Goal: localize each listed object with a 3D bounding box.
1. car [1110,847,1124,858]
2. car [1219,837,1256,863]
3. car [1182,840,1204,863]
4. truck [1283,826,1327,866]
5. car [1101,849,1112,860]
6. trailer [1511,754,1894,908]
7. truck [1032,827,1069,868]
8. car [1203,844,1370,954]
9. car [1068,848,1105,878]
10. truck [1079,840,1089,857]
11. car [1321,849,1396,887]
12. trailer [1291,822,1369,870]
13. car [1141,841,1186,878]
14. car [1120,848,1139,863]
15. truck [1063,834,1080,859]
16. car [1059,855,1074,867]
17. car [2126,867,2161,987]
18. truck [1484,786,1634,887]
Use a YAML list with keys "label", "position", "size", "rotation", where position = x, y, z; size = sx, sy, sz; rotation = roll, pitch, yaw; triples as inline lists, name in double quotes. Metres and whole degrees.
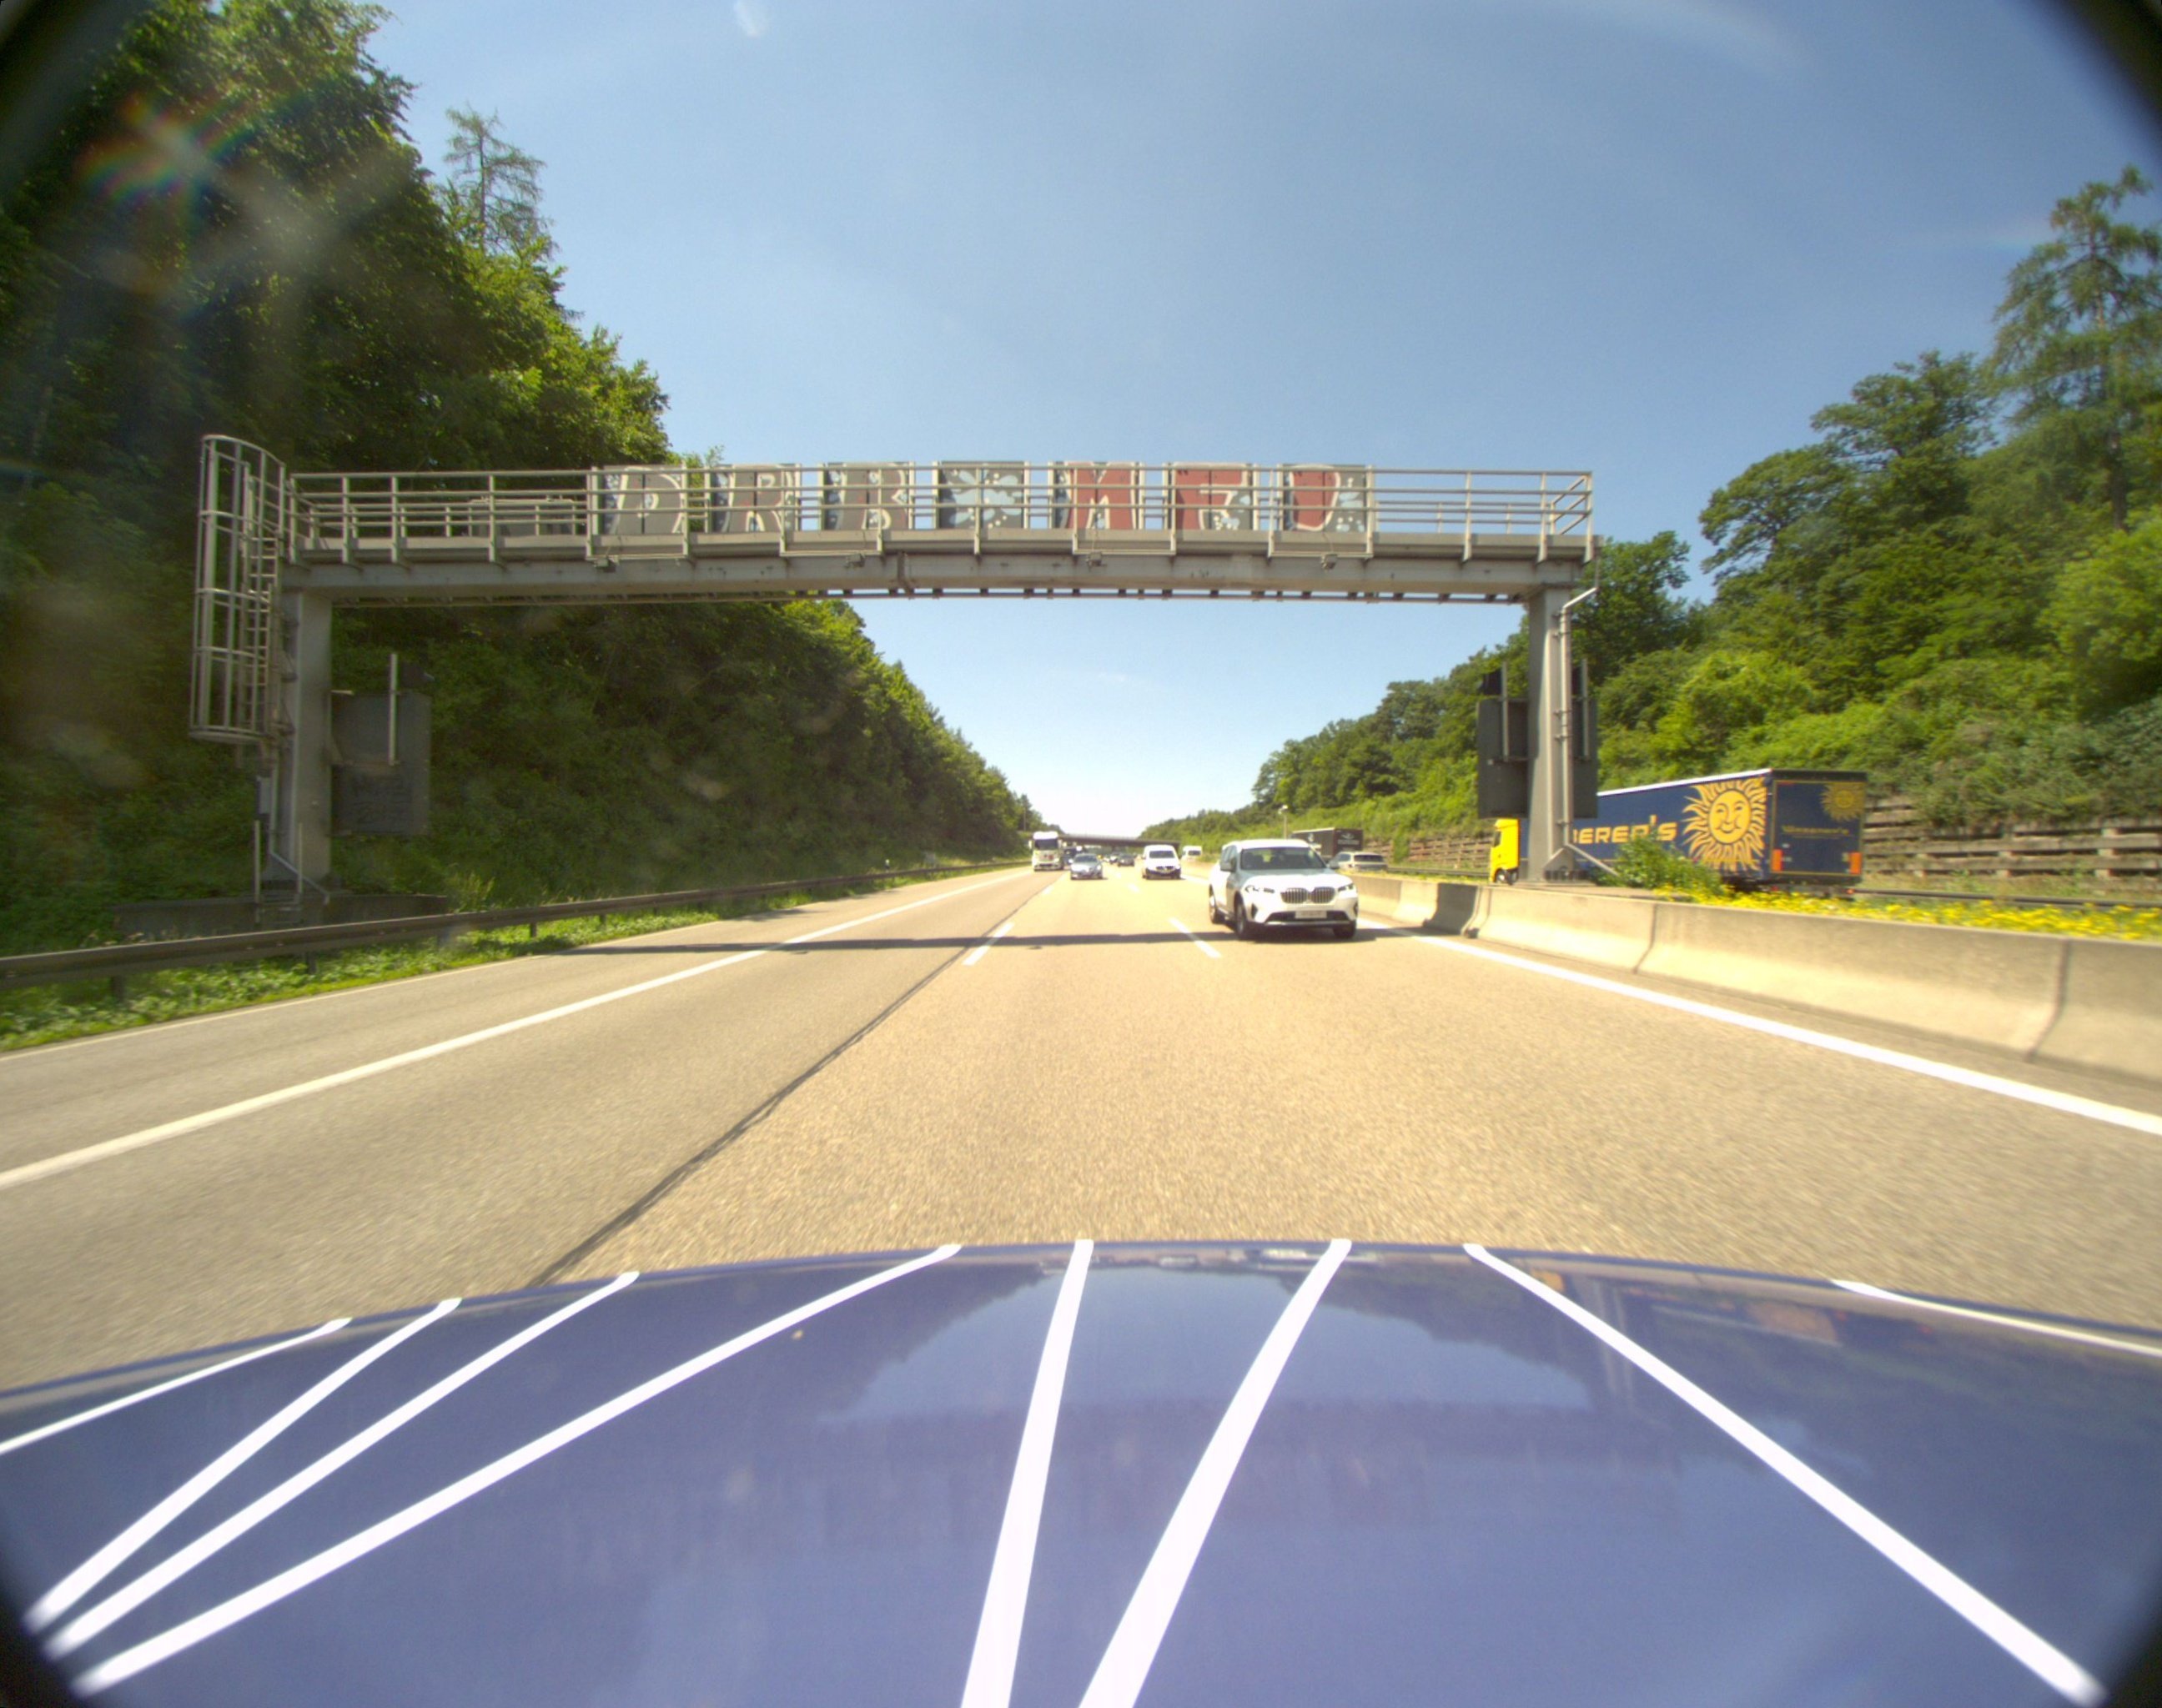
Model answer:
- label: "car"
  position: [5.122, -0.215, 107.813]
  size: [1.770, 1.504, 4.000]
  rotation: [-3, 1, 1]
- label: "car"
  position: [16.520, -0.411, 80.342]
  size: [2.761, 2.658, 5.683]
  rotation: [1, 0, 1]
- label: "car"
  position: [13.169, -0.310, 89.606]
  size: [2.003, 2.658, 4.846]
  rotation: [1, 0, 1]
- label: "truck"
  position: [23.683, -0.809, 80.686]
  size: [2.941, 4.036, 5.867]
  rotation: [1, 1, 1]
- label: "car"
  position: [4.739, 0.094, 143.000]
  size: [1.924, 1.849, 4.000]
  rotation: [-2, 1, 2]
- label: "trailer"
  position: [21.322, -0.706, 28.338]
  size: [2.985, 4.183, 14.466]
  rotation: [2, 1, 3]
- label: "truck"
  position: [-2.851, -0.641, 74.890]
  size: [2.844, 3.518, 13.086]
  rotation: [-3, 1, 1]
- label: "car"
  position: [3.491, 0.675, 13.788]
  size: [1.850, 1.634, 4.368]
  rotation: [-2, 0, 1]
- label: "car"
  position: [0.366, 0.483, 43.070]
  size: [1.843, 1.518, 4.501]
  rotation: [-2, 1, 2]
- label: "truck"
  position: [0.835, -1.401, 204.855]
  size: [2.627, 4.365, 13.086]
  rotation: [-3, 1, 1]
- label: "car"
  position: [12.224, 0.581, 33.721]
  size: [1.848, 1.595, 4.117]
  rotation: [1, 0, 1]
- label: "trailer"
  position: [23.596, -0.770, 73.208]
  size: [2.985, 4.077, 13.993]
  rotation: [2, 1, 1]
- label: "car"
  position: [4.346, 0.259, 40.641]
  size: [1.998, 1.764, 4.501]
  rotation: [-2, 1, 2]
- label: "car"
  position: [5.245, 0.163, 83.365]
  size: [1.770, 1.504, 4.725]
  rotation: [-3, 1, 1]
- label: "truck"
  position: [-1.764, -1.463, 145.966]
  size: [2.627, 4.365, 13.086]
  rotation: [-3, 1, 1]
- label: "car"
  position: [-1.930, 0.928, 101.225]
  size: [1.770, 1.504, 4.000]
  rotation: [-3, 1, 1]
- label: "car"
  position: [15.455, 0.995, 8.077]
  size: [2.008, 1.595, 4.862]
  rotation: [1, 0, 1]
- label: "truck"
  position: [21.706, -0.758, 35.028]
  size: [2.957, 4.178, 6.458]
  rotation: [2, 1, 3]
